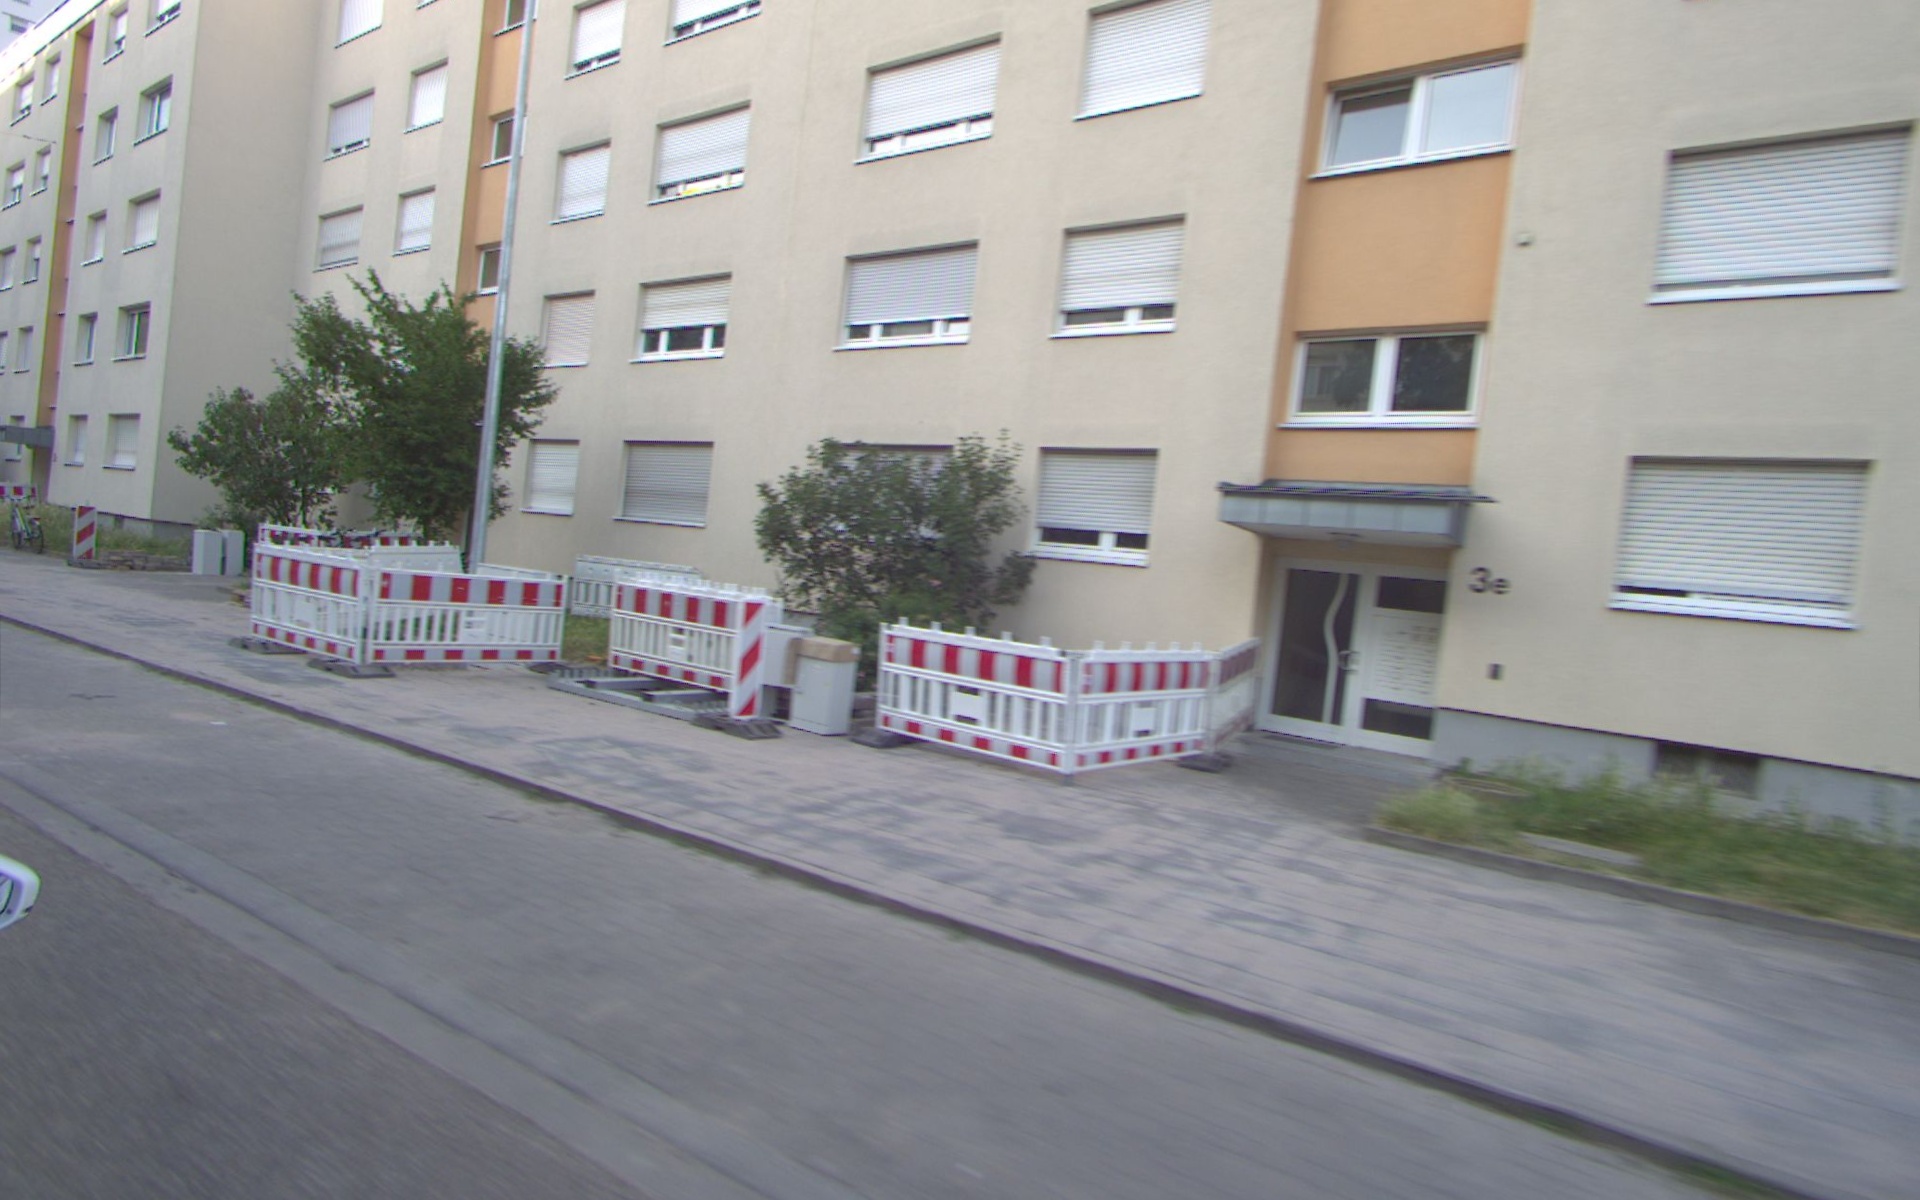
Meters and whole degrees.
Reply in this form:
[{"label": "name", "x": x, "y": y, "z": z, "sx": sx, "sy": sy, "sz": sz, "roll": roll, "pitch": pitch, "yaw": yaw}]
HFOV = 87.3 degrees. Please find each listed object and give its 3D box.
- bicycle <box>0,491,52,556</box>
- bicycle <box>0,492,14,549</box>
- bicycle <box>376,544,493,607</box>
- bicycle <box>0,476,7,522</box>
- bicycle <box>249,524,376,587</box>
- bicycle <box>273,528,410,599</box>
[{"label": "bicycle", "x": -19.569, "y": -1.605, "z": 20.911, "sx": 1.787, "sy": 1.186, "sz": 0.556, "roll": 7, "pitch": 1, "yaw": 34}, {"label": "bicycle", "x": -21.300, "y": -1.809, "z": 21.920, "sx": 1.787, "sy": 1.186, "sz": 0.556, "roll": 7, "pitch": 1, "yaw": 34}, {"label": "bicycle", "x": -8.387, "y": -0.398, "z": 16.078, "sx": 1.584, "sy": 0.877, "sz": 0.557, "roll": 4, "pitch": 5, "yaw": 3}, {"label": "bicycle", "x": -26.513, "y": -2.805, "z": 26.726, "sx": 0.476, "sy": 1.237, "sz": 1.596, "roll": 7, "pitch": 0, "yaw": 25}, {"label": "bicycle", "x": -11.104, "y": -0.749, "z": 17.289, "sx": 0.550, "sy": 1.001, "sz": 1.747, "roll": 7, "pitch": 5, "yaw": 40}, {"label": "bicycle", "x": -9.852, "y": -0.575, "z": 16.079, "sx": 0.548, "sy": 1.037, "sz": 1.809, "roll": 6, "pitch": 5, "yaw": 32}]
